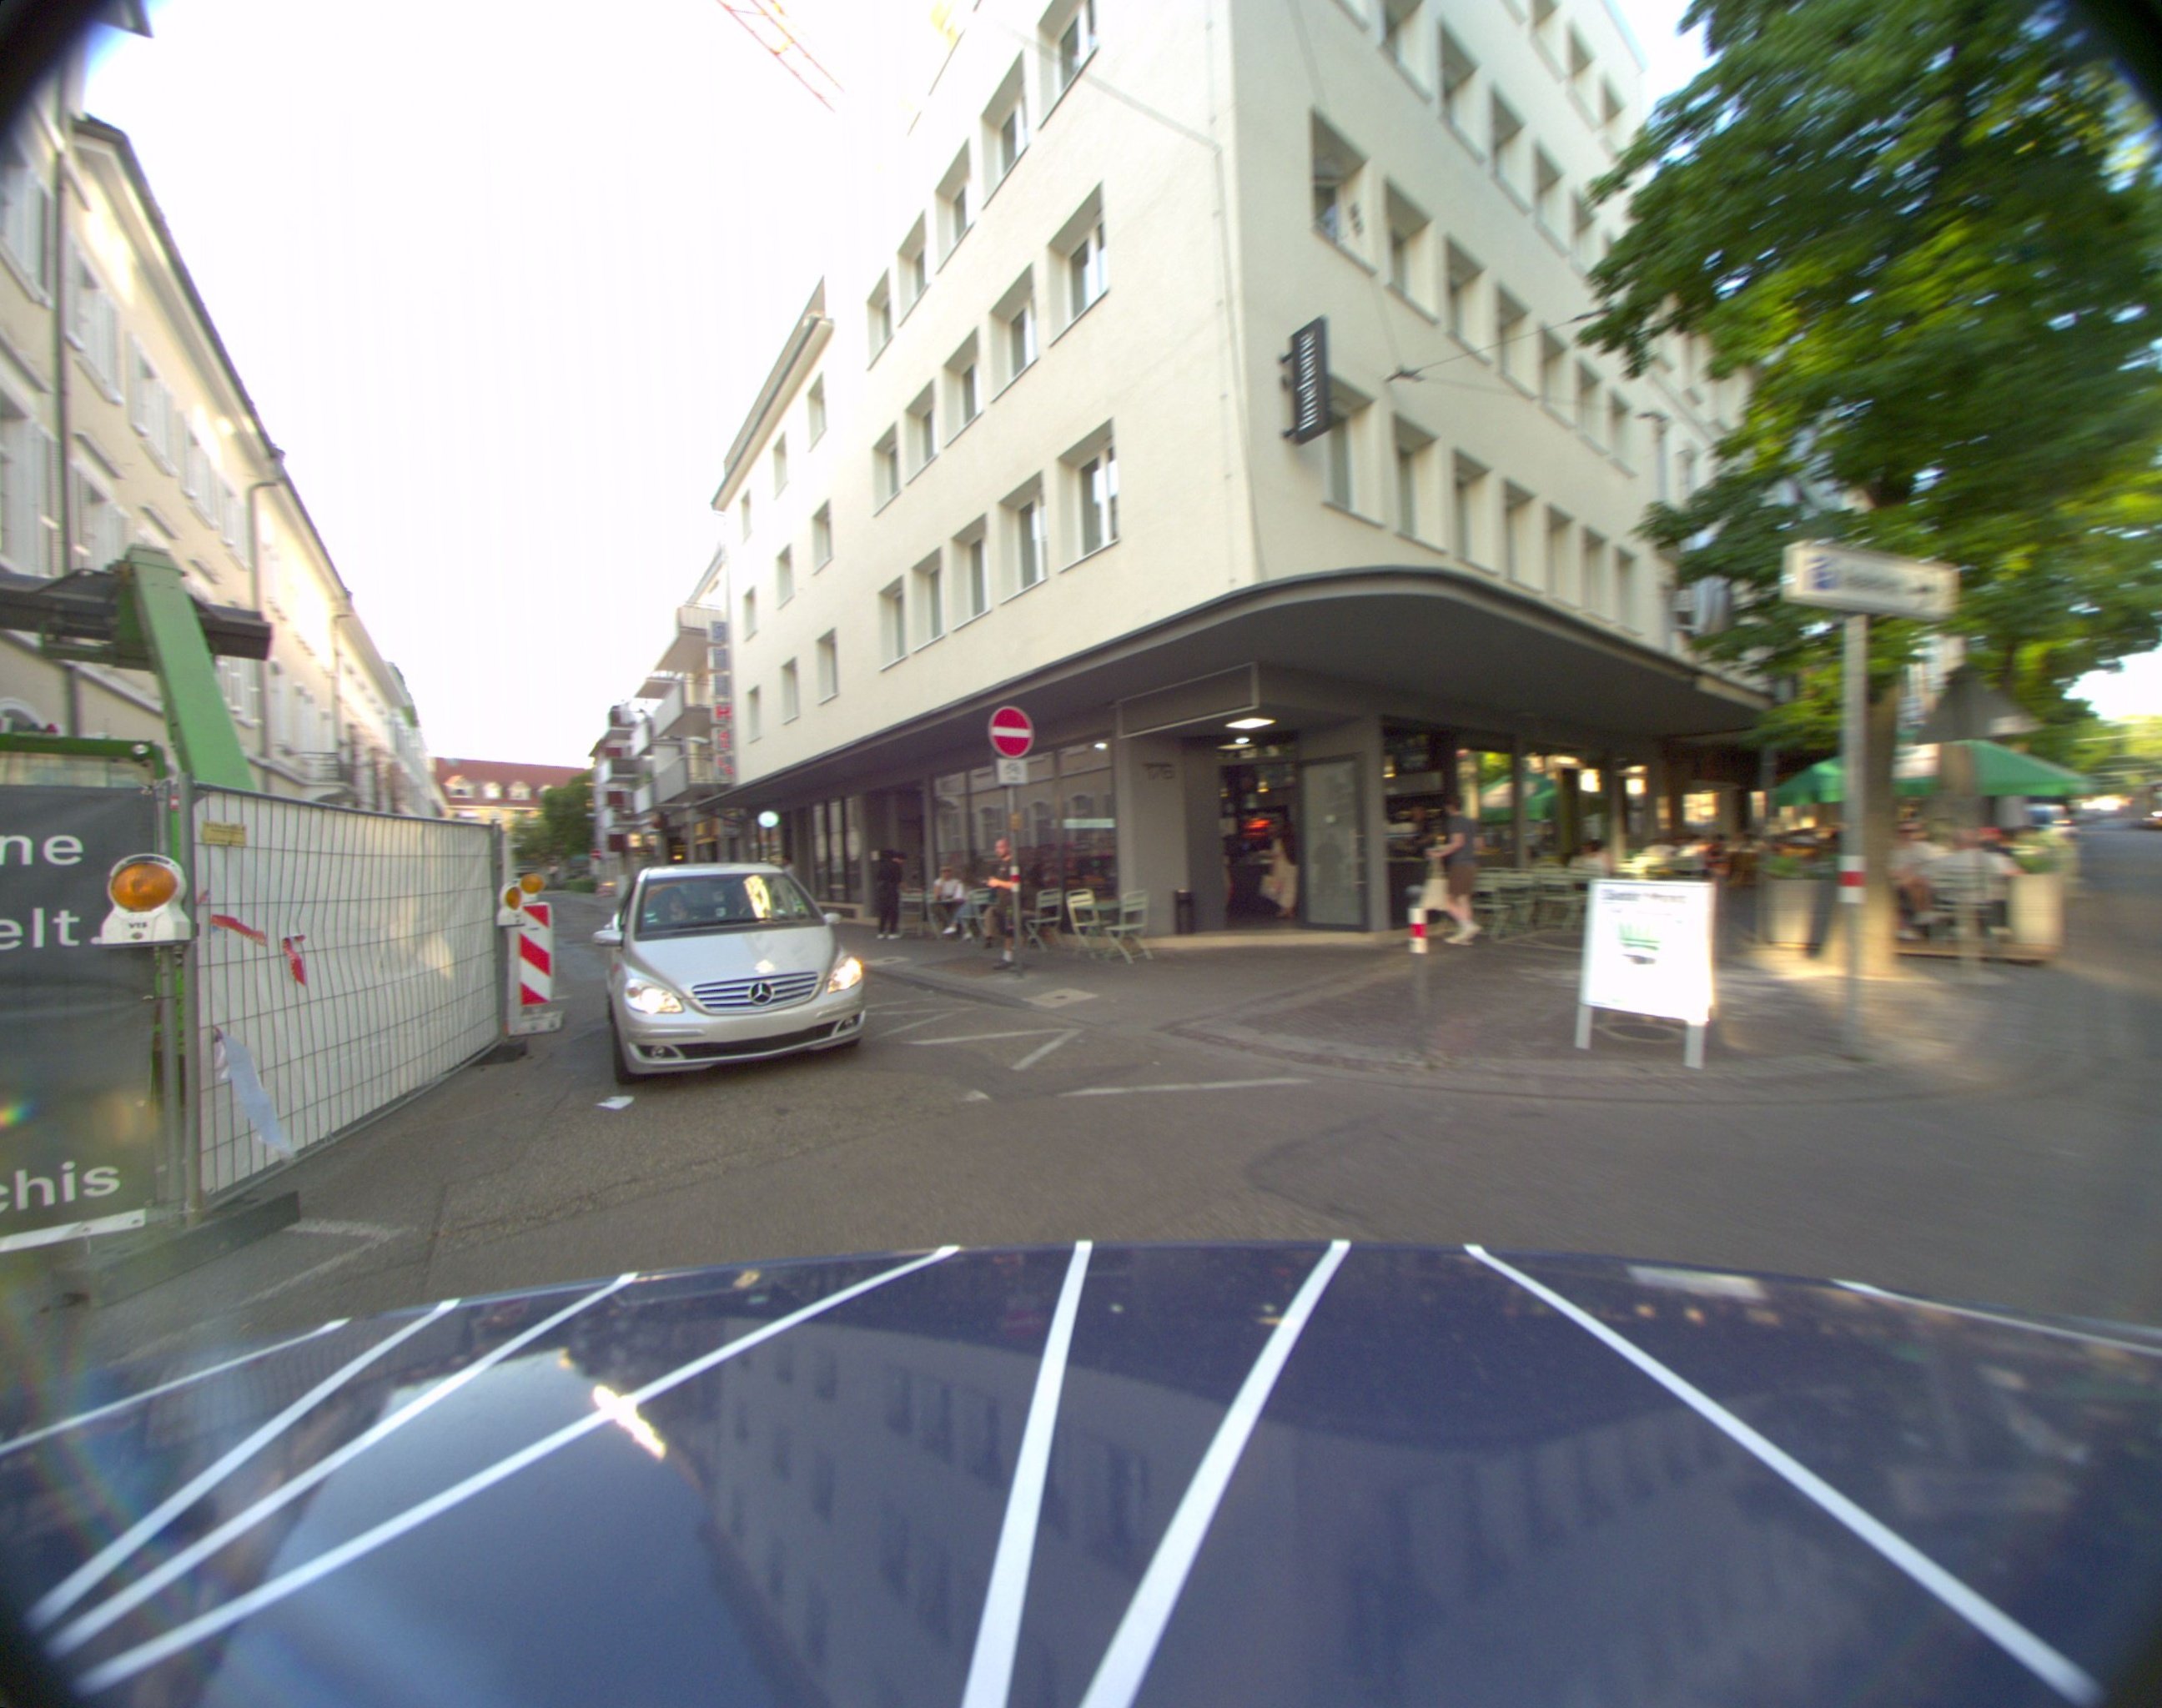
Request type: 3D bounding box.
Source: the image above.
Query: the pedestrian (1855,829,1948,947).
[{"bbox_3d":[10.107,0.404,9.358,0.715,1.351,0.729,-6,2,-41],"label":"pedestrian"}]

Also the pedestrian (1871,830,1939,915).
[{"bbox_3d":[13.863,0.302,12.785,0.715,1.351,0.729,-6,2,-41],"label":"pedestrian"}]

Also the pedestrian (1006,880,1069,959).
[{"bbox_3d":[-0.661,0.964,11.457,0.575,1.107,0.712,-5,2,-37],"label":"pedestrian"}]

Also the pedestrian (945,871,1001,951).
[{"bbox_3d":[-1.844,0.946,12.914,0.575,1.268,0.712,-6,2,-37],"label":"pedestrian"}]

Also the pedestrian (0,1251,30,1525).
[{"bbox_3d":[-3.278,0.930,1.480,1.074,1.810,0.803,-4,3,-28],"label":"pedestrian"}]

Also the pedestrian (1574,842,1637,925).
[{"bbox_3d":[8.473,0.464,12.279,0.675,1.253,0.652,-6,2,-41],"label":"pedestrian"}]

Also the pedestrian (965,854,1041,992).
[{"bbox_3d":[-0.977,0.849,9.563,0.686,1.658,0.507,-2,3,29],"label":"pedestrian"}]

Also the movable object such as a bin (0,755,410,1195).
[{"bbox_3d":[-8.052,0.808,6.822,2.618,2.822,4.438,-2,0,-37],"label":"movable object such as a bin"}]

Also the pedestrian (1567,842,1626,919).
[{"bbox_3d":[8.899,0.453,13.115,0.675,1.253,0.652,-6,2,-41],"label":"pedestrian"}]

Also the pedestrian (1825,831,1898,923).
[{"bbox_3d":[12.210,0.350,11.891,0.715,1.351,0.729,-6,2,-41],"label":"pedestrian"}]

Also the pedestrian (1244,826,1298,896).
[{"bbox_3d":[3.615,0.129,14.450,0.675,1.253,0.652,-6,2,-41],"label":"pedestrian"}]

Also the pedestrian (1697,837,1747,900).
[{"bbox_3d":[13.361,0.296,15.836,0.675,1.253,0.652,-6,2,-41],"label":"pedestrian"}]

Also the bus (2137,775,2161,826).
[{"bbox_3d":[77.086,-3.840,54.117,8.588,3.398,1.995,-3,1,-35],"label":"bus"}]

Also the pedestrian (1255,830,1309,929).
[{"bbox_3d":[3.282,0.407,12.444,0.752,1.563,0.602,-2,0,9],"label":"pedestrian"}]

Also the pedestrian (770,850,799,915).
[{"bbox_3d":[-8.530,0.820,21.891,0.533,1.824,0.561,-3,1,-43],"label":"pedestrian"}]

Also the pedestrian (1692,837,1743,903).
[{"bbox_3d":[12.650,0.316,15.099,0.675,1.253,0.652,-6,2,-41],"label":"pedestrian"}]

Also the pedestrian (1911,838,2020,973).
[{"bbox_3d":[9.626,0.533,8.288,0.715,1.351,0.729,-6,2,-41],"label":"pedestrian"}]

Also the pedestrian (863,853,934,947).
[{"bbox_3d":[-3.469,0.848,14.433,0.796,1.658,0.903,-2,3,41],"label":"pedestrian"}]

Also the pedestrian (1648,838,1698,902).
[{"bbox_3d":[12.198,0.331,15.652,0.675,1.253,0.652,-6,2,-41],"label":"pedestrian"}]

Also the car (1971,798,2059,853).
[{"bbox_3d":[35.197,-1.042,28.658,4.007,1.903,1.995,-2,0,-39],"label":"car"}]

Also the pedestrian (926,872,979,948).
[{"bbox_3d":[-2.294,0.987,13.556,0.575,1.268,0.712,-5,2,-37],"label":"pedestrian"}]

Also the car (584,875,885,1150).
[{"bbox_3d":[-3.382,1.046,6.918,1.808,1.607,4.263,-2,-1,-32],"label":"car"}]

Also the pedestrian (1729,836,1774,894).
[{"bbox_3d":[15.293,0.240,17.319,0.675,1.253,0.652,-6,2,-41],"label":"pedestrian"}]

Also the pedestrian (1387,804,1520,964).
[{"bbox_3d":[4.732,0.353,9.712,1.030,1.891,1.067,-2,0,-16],"label":"pedestrian"}]

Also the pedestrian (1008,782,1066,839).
[{"bbox_3d":[-1.676,-1.652,30.369,1.998,2.002,4.000,-2,0,1],"label":"pedestrian"}]

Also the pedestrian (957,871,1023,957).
[{"bbox_3d":[-1.459,0.929,12.161,0.705,1.268,0.712,-5,2,-37],"label":"pedestrian"}]
